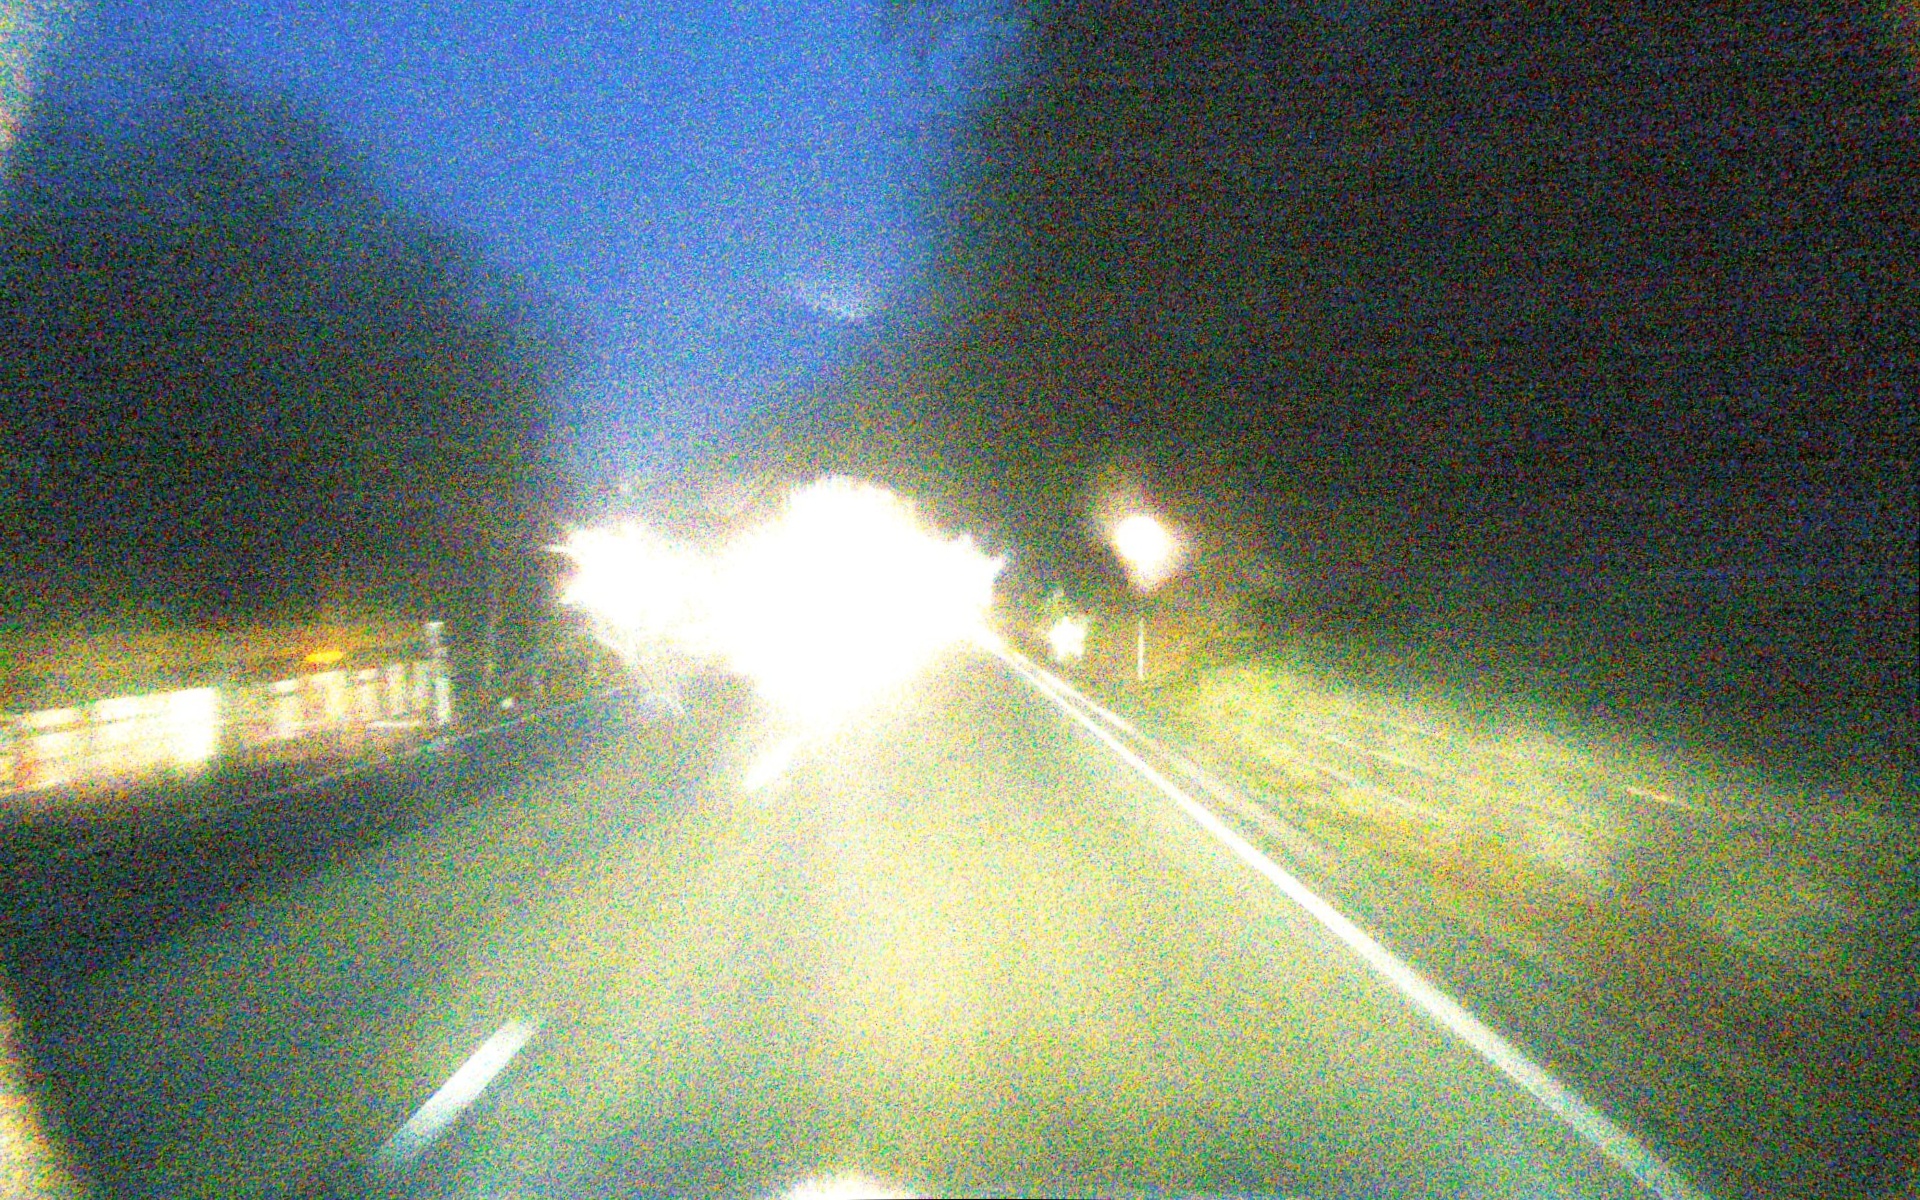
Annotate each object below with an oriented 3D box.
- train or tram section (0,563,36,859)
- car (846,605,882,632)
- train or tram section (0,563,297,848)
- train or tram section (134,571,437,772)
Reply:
[{"bbox_3d":[-12.689,1.326,16.073,2.786,3.520,8.550,0,0,-2],"label":"train or tram section"},{"bbox_3d":[-5.449,1.037,94.182,1.954,1.482,4.096,-1,0,-3],"label":"car"},{"bbox_3d":[-12.925,1.280,24.694,2.786,3.520,8.550,0,0,-2],"label":"train or tram section"},{"bbox_3d":[-13.166,1.237,33.256,2.786,3.520,8.550,0,0,-2],"label":"train or tram section"}]
